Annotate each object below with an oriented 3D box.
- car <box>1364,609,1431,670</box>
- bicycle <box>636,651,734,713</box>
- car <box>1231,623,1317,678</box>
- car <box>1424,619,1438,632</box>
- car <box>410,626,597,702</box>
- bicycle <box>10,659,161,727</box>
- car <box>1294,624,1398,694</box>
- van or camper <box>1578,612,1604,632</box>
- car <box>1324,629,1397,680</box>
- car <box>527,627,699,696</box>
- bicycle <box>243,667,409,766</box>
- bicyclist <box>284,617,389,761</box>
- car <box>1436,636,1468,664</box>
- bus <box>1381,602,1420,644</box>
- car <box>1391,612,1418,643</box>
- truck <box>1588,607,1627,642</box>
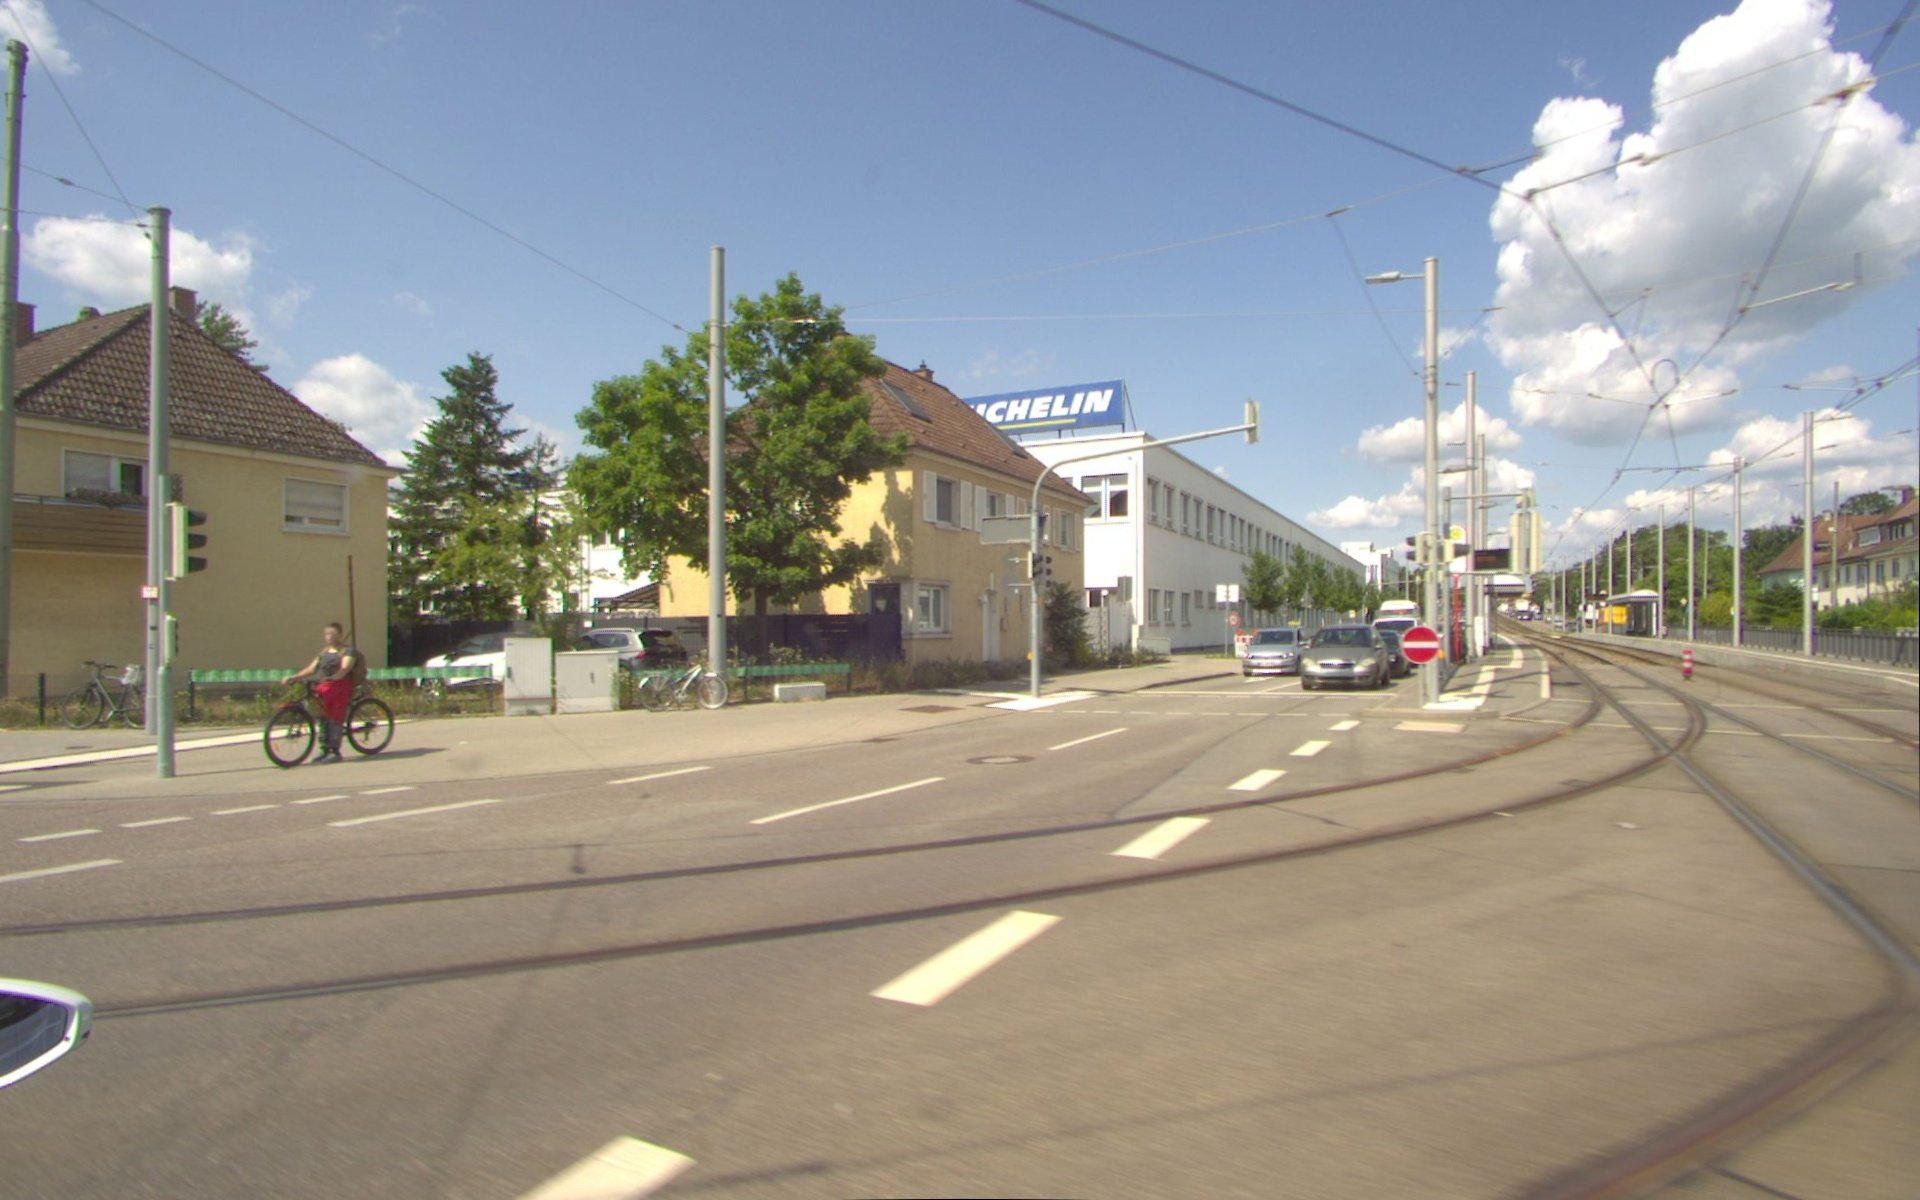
[{"bbox_3d":[16.827,1.505,38.351,1.788,2.187,4.826,-1,-2,30],"label":"car"},{"bbox_3d":[-5.267,1.544,19.146,1.777,1.119,0.701,0,-1,-19],"label":"bicycle"},{"bbox_3d":[10.641,1.658,33.796,1.911,1.714,3.982,-1,-2,31],"label":"car"},{"bbox_3d":[75.526,4.153,160.586,1.968,2.039,3.989,0,-3,26],"label":"car"},{"bbox_3d":[-10.665,1.498,23.397,3.934,1.641,1.823,-2,-2,23],"label":"car"},{"bbox_3d":[-14.857,1.574,17.033,2.233,1.110,0.595,-1,-1,7],"label":"bicycle"},{"bbox_3d":[9.753,1.423,25.158,1.815,1.588,3.982,-1,-2,31],"label":"car"},{"bbox_3d":[105.638,3.699,167.664,2.960,3.249,7.103,0,-3,27],"label":"van or camper"},{"bbox_3d":[12.280,1.618,30.601,1.553,1.464,3.706,-1,-2,30],"label":"car"},{"bbox_3d":[-8.859,1.575,25.573,3.934,1.641,1.823,-2,-2,23],"label":"car"},{"bbox_3d":[-8.124,1.456,12.959,0.701,1.116,2.034,-1,-2,6],"label":"bicycle"},{"bbox_3d":[-8.115,1.133,13.069,0.706,1.797,0.960,-1,-1,7],"label":"bicyclist"},{"bbox_3d":[35.017,3.541,71.206,1.969,1.905,3.987,-1,-3,27],"label":"car"},{"bbox_3d":[34.280,1.813,77.777,2.469,3.161,6.634,-1,-2,26],"label":"bus"},{"bbox_3d":[38.875,2.419,87.492,1.946,2.660,5.144,-1,-2,27],"label":"car"},{"bbox_3d":[67.185,2.643,103.977,2.151,3.448,7.216,0,-3,23],"label":"truck"}]
